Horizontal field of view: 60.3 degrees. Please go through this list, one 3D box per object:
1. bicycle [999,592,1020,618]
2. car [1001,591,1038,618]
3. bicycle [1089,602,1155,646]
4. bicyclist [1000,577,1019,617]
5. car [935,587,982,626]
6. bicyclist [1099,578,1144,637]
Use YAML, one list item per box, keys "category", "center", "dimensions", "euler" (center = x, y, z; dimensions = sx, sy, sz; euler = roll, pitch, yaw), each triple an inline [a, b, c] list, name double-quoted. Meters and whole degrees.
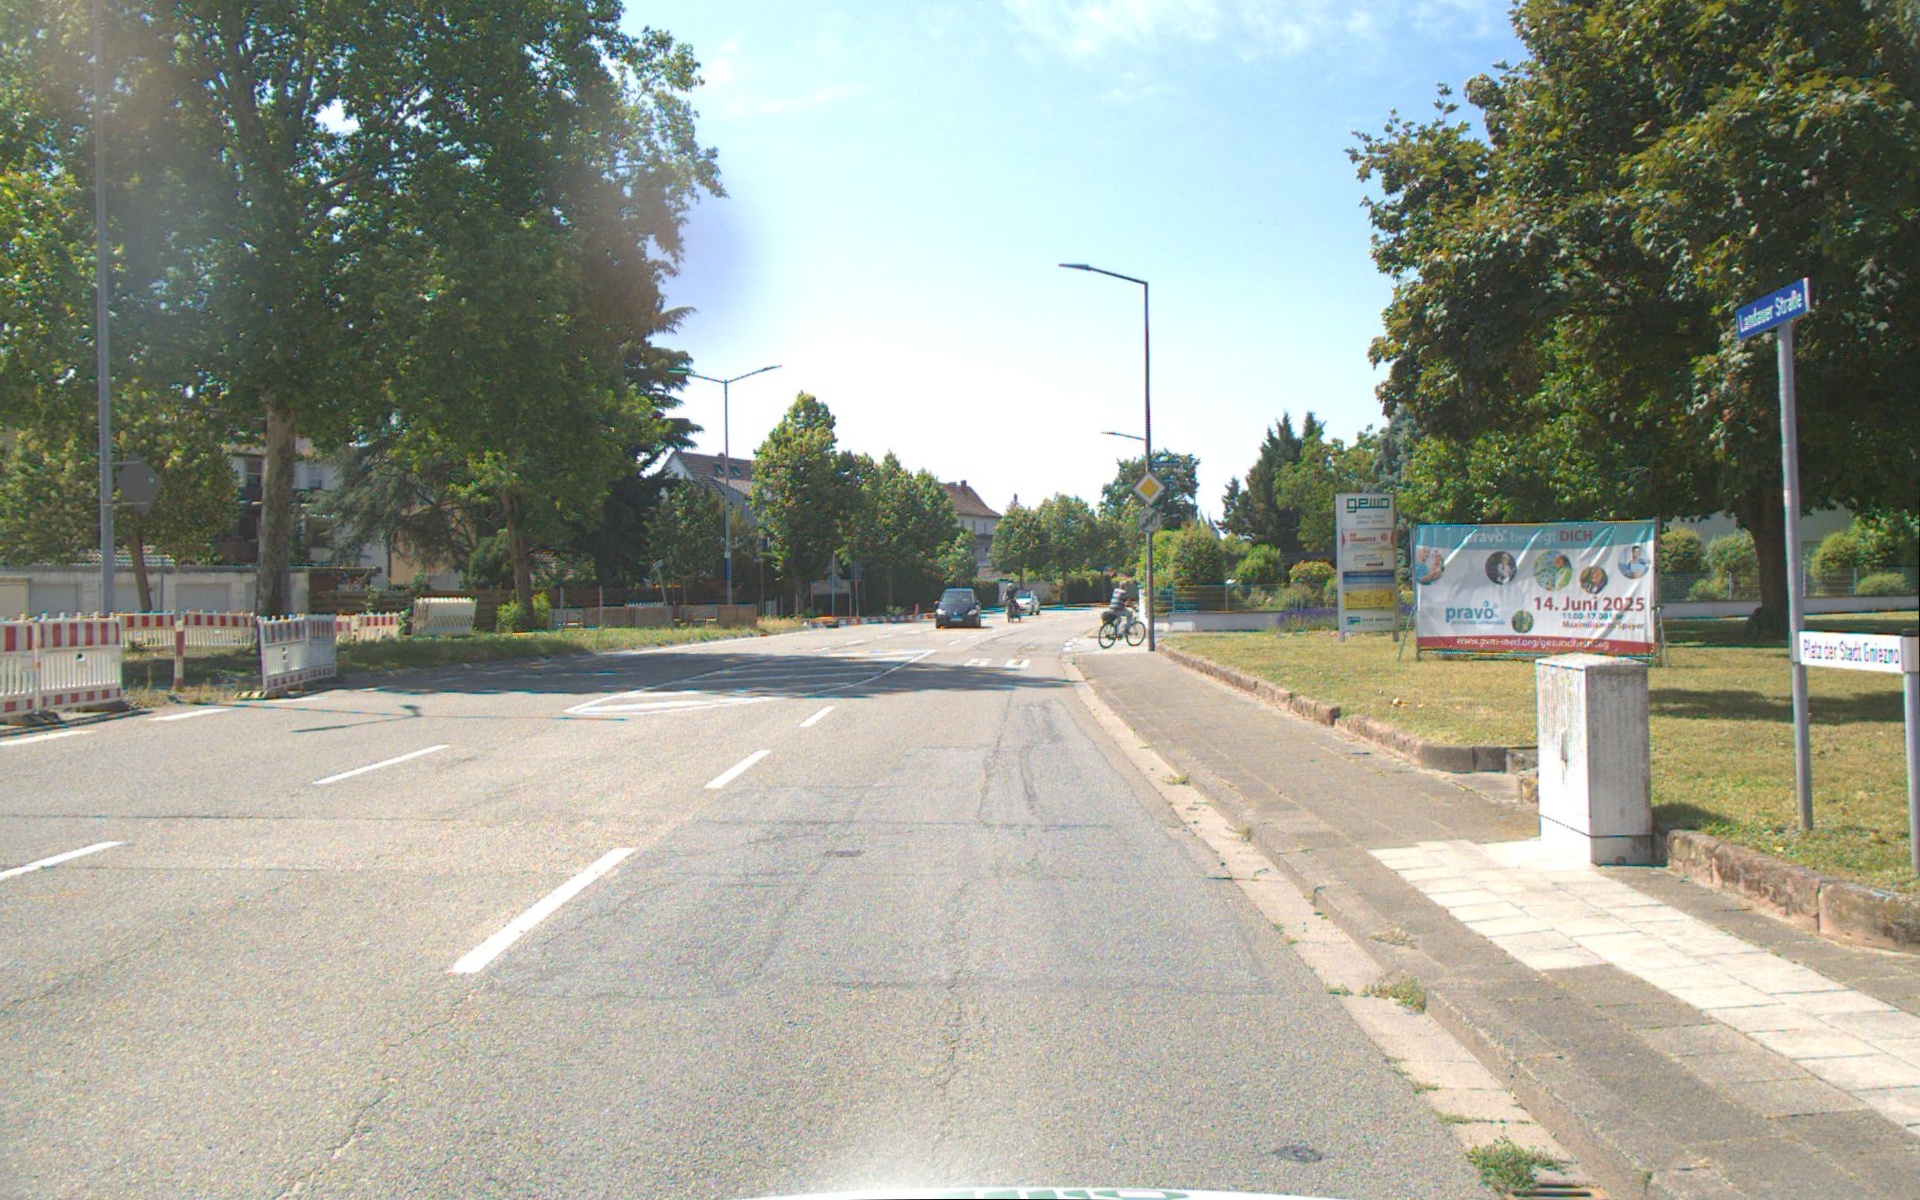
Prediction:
- category: "bicycle"
  center: [2.378, 0.234, 78.914]
  dimensions: [0.832, 1.186, 1.978]
  euler: [-2, 0, 6]
- category: "car"
  center: [3.651, 0.258, 100.379]
  dimensions: [1.662, 1.536, 3.462]
  euler: [1, 0, 12]
- category: "bicycle"
  center: [4.409, 0.640, 44.915]
  dimensions: [0.799, 1.122, 2.138]
  euler: [-1, 0, 36]
- category: "bicyclist"
  center: [2.365, -0.151, 78.927]
  dimensions: [0.828, 1.898, 0.977]
  euler: [0, 0, 6]
- category: "car"
  center: [-0.041, 0.254, 68.484]
  dimensions: [1.689, 1.559, 3.832]
  euler: [1, 0, 3]
- category: "bicyclist"
  center: [4.381, 0.202, 44.890]
  dimensions: [0.839, 1.557, 0.925]
  euler: [-1, 0, 37]
